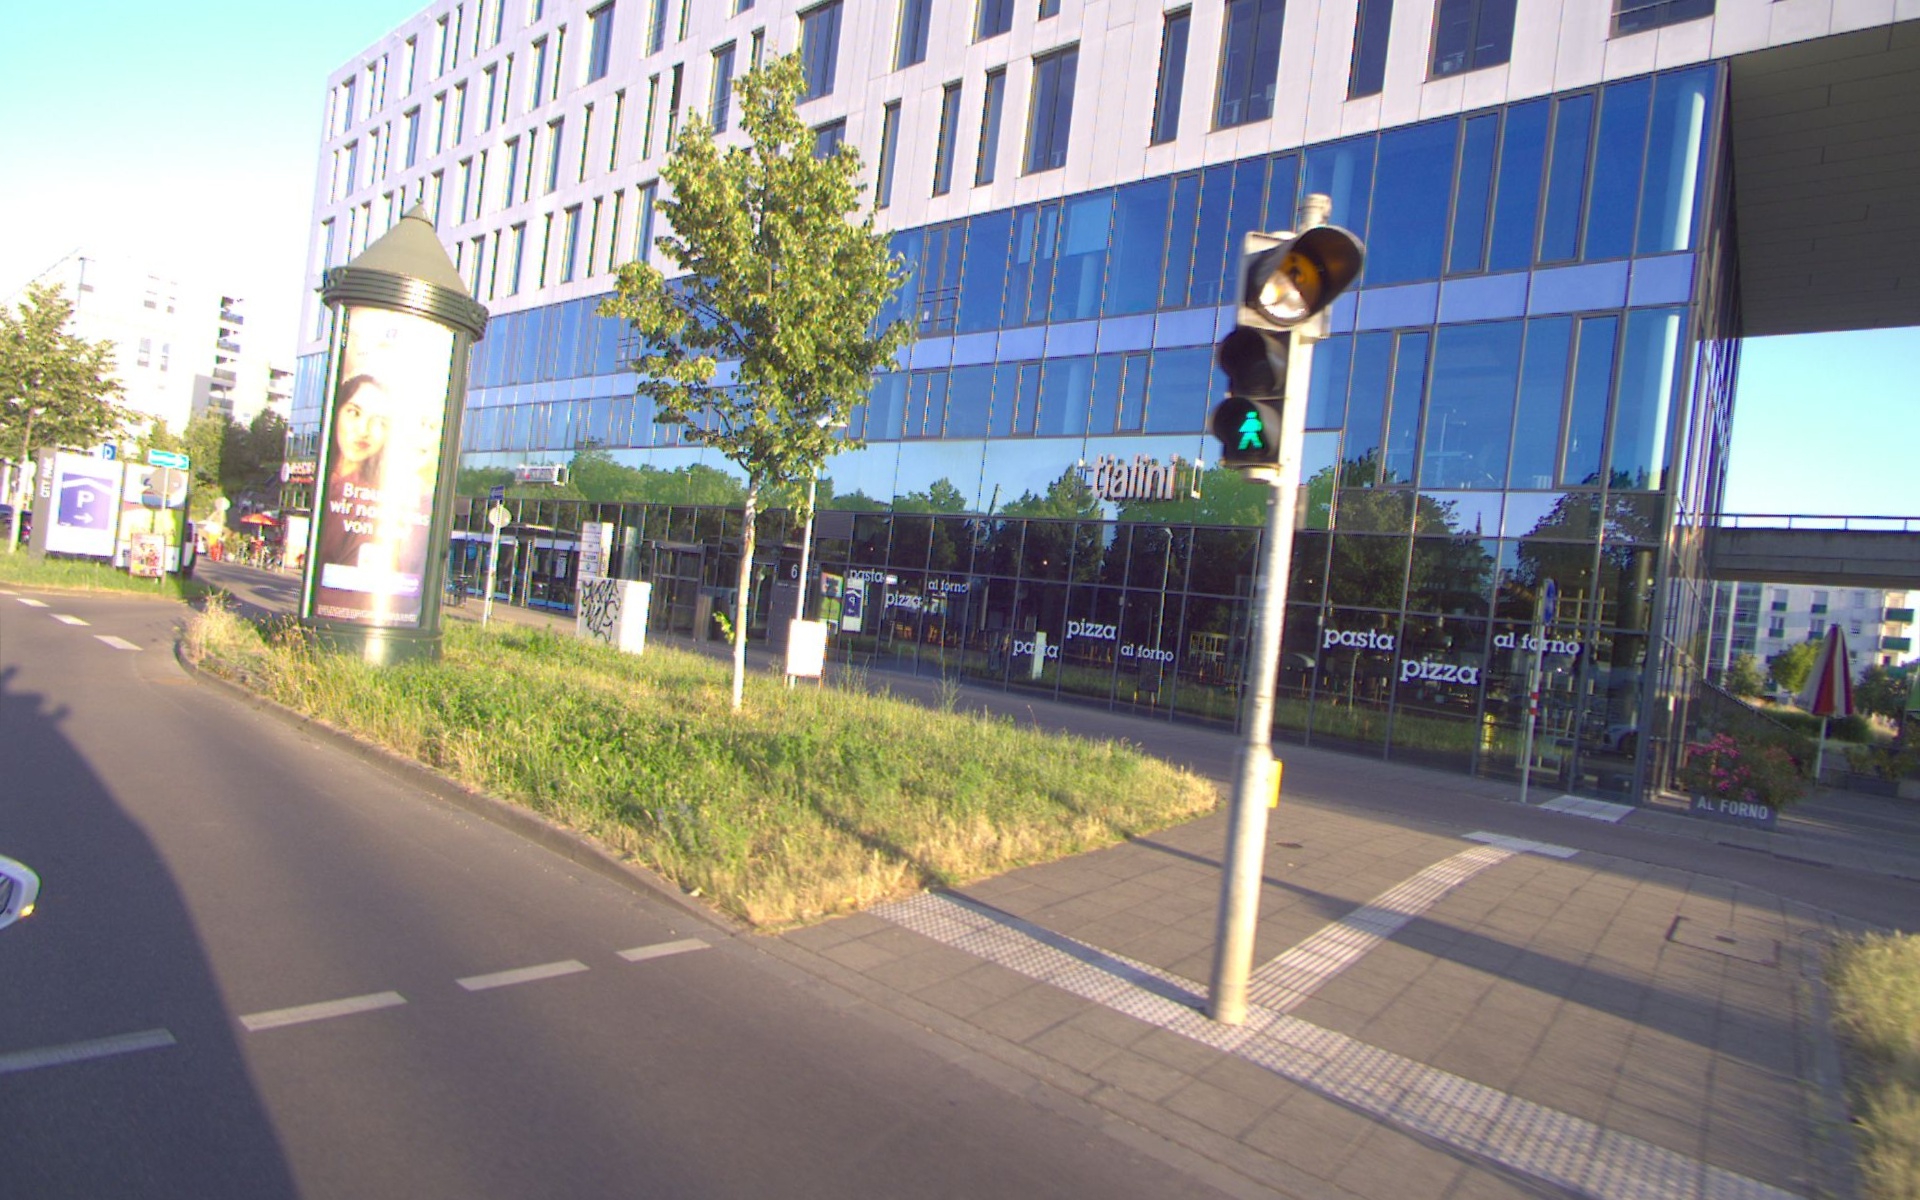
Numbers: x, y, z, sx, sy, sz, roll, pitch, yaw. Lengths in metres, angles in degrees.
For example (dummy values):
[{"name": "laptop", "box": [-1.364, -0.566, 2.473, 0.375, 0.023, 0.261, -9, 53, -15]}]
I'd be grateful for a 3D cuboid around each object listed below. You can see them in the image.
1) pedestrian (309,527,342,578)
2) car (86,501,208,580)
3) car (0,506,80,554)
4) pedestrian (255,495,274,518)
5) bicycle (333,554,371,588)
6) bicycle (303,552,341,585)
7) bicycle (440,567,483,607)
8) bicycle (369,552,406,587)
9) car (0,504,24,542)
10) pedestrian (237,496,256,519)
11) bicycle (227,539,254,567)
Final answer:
[{"name": "pedestrian", "box": [-27.795, -2.094, 44.067, 1.097, 2.116, 0.810, 6, 1, 42]}, {"name": "car", "box": [-23.799, -1.769, 29.393, 4.332, 1.848, 1.851, 6, -3, 40]}, {"name": "car", "box": [-37.014, -2.820, 40.256, 4.394, 1.451, 1.826, 6, -3, 39]}, {"name": "pedestrian", "box": [-49.595, -6.642, 71.761, 0.804, 1.473, 1.106, 6, 0, -25]}, {"name": "bicycle", "box": [-22.621, -1.089, 37.420, 2.094, 1.081, 0.633, 6, -1, 44]}, {"name": "bicycle", "box": [-24.696, -1.223, 38.918, 2.093, 1.081, 0.633, 6, -1, 42]}, {"name": "bicycle", "box": [-15.682, -0.429, 31.629, 0.540, 1.081, 1.980, 7, -1, -44]}, {"name": "bicycle", "box": [-20.184, -1.087, 35.455, 0.632, 1.080, 2.097, 7, -1, -41]}, {"name": "car", "box": [-47.748, -3.960, 49.195, 4.524, 1.716, 1.995, 6, -3, 37]}, {"name": "pedestrian", "box": [-50.483, -6.552, 71.208, 0.804, 1.473, 1.106, 6, 0, -25]}, {"name": "bicycle", "box": [-33.674, -2.206, 47.048, 1.612, 1.169, 0.491, 6, 0, 38]}]
